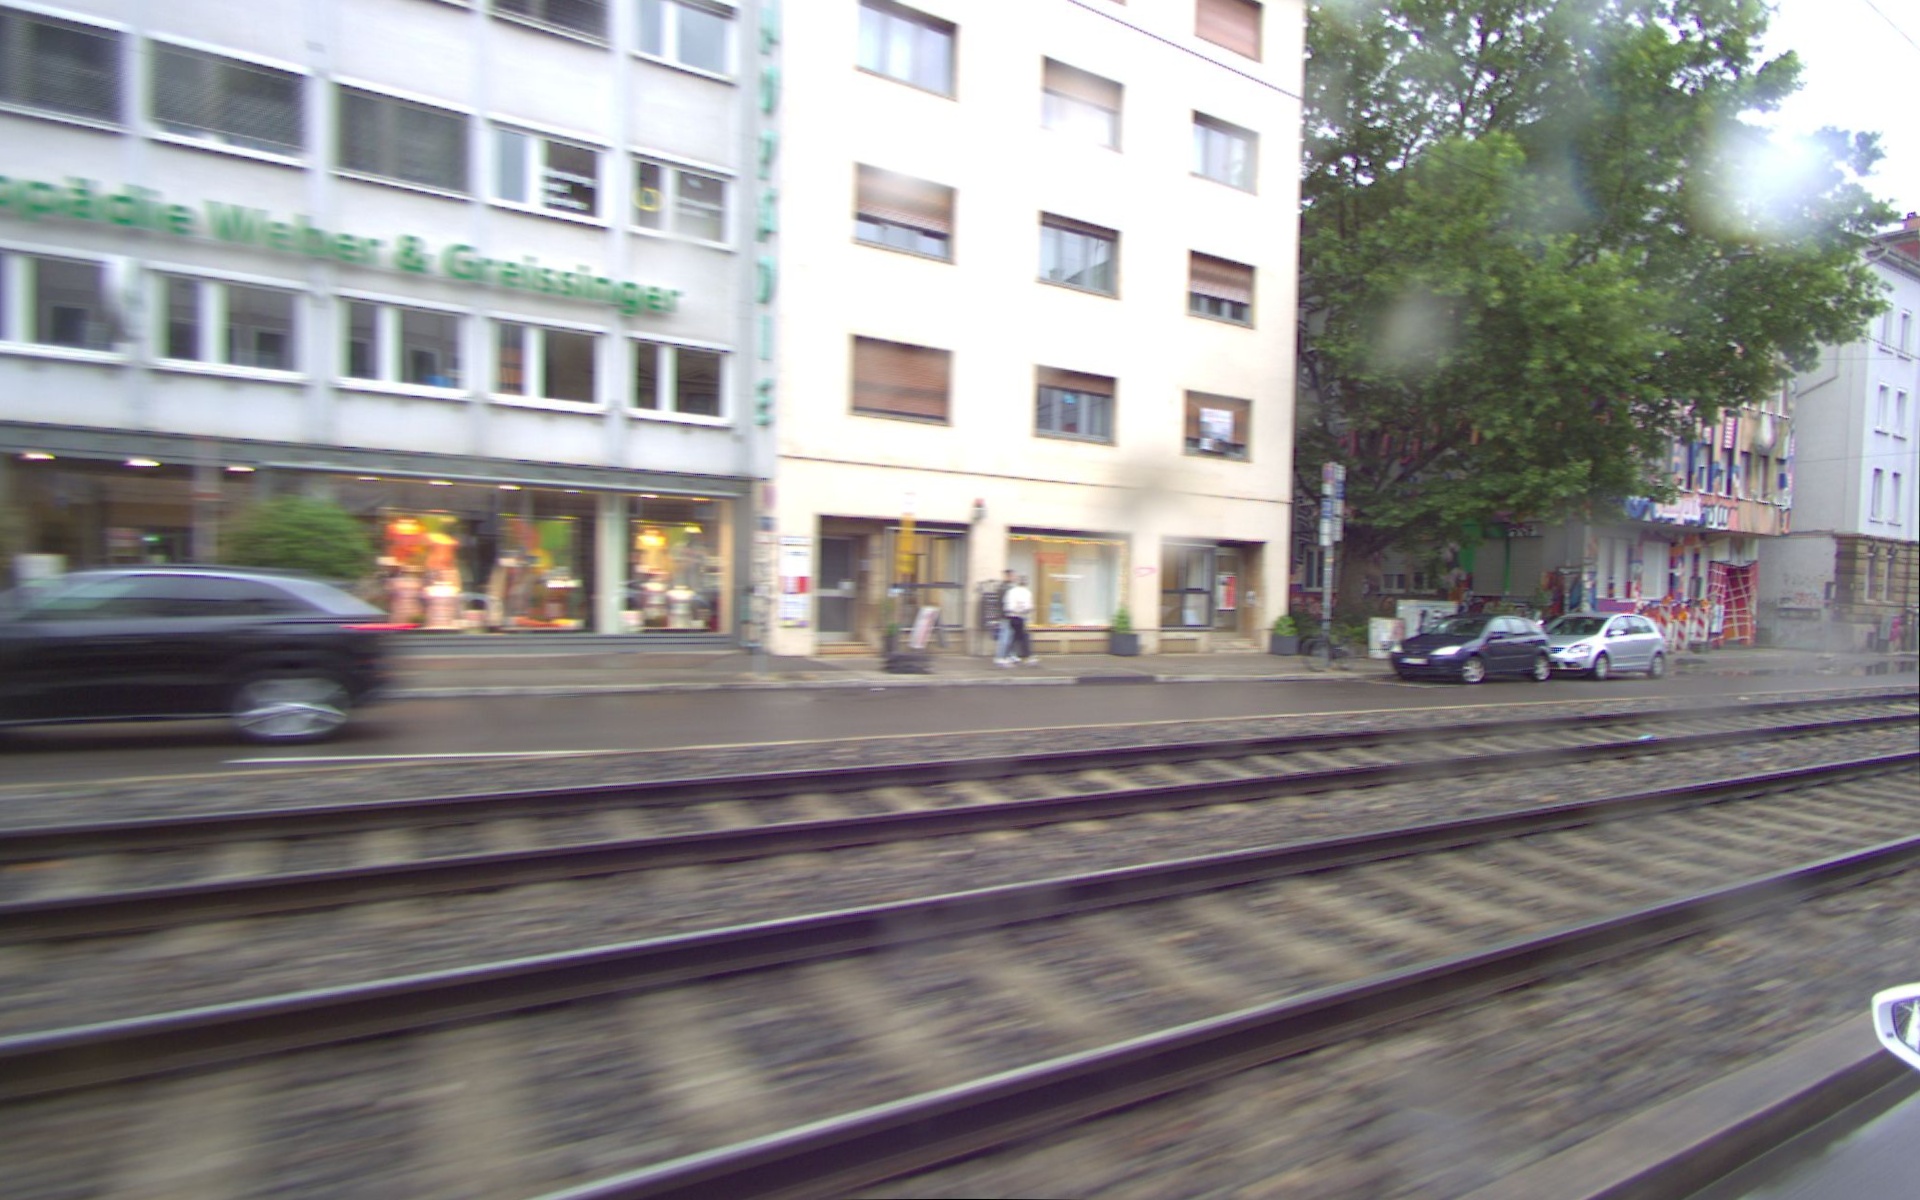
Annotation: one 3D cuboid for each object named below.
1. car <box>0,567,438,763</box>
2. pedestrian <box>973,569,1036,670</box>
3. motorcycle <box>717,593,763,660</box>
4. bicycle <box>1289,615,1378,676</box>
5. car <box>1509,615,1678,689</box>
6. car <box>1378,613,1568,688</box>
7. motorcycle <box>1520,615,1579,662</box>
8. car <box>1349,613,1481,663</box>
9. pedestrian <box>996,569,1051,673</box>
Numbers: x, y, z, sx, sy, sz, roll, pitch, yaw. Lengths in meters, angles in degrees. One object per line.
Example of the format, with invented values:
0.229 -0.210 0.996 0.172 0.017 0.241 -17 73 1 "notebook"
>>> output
-7.257 0.509 9.149 4.387 1.539 1.986 1 1 -27 "car"
0.871 0.378 19.743 0.971 1.921 0.724 1 1 -30 "pedestrian"
-4.152 0.481 18.918 0.381 1.196 1.469 1 1 -31 "motorcycle"
8.085 0.967 21.693 2.382 1.243 0.586 2 1 -38 "bicycle"
15.311 1.197 24.225 4.170 1.591 1.713 1 1 -31 "car"
11.190 1.056 21.872 4.170 1.488 1.735 1 -1 -31 "car"
18.211 1.175 31.030 2.096 1.398 0.635 1 1 -32 "motorcycle"
14.590 1.183 32.201 3.954 1.474 1.983 1 0 -31 "car"
1.195 0.396 19.028 0.734 1.921 0.675 1 1 -30 "pedestrian"
